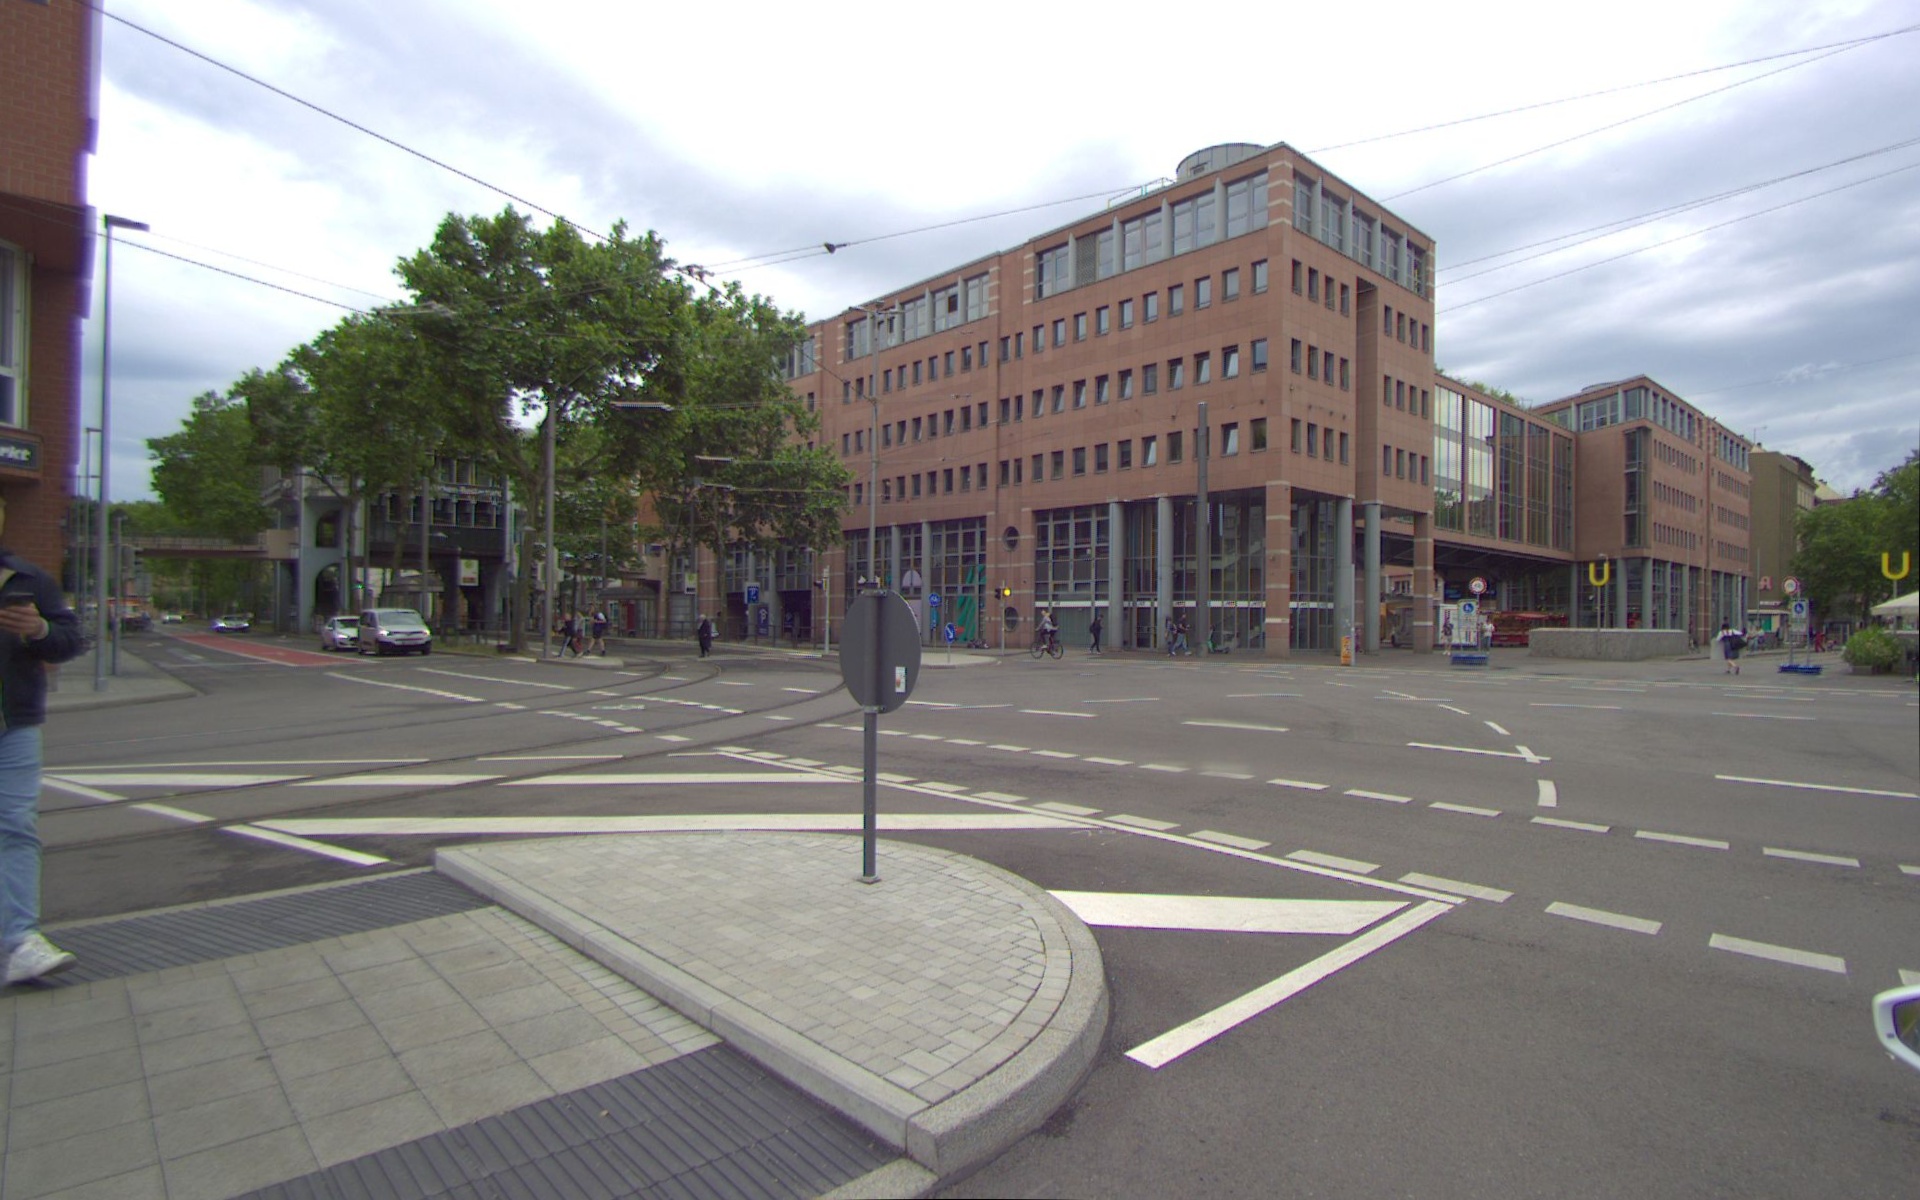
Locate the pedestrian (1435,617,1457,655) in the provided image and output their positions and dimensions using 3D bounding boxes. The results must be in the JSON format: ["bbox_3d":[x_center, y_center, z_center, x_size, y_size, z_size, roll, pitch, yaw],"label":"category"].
[{"bbox_3d":[24.066,1.788,49.702,0.727,1.866,0.695,1,0,-37],"label":"pedestrian"}]

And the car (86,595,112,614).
[{"bbox_3d":[-88.131,0.496,102.851,1.914,1.817,3.661,1,-2,-42],"label":"car"}]

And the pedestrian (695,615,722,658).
[{"bbox_3d":[-9.359,1.356,37.393,0.737,1.581,0.568,3,-1,-37],"label":"pedestrian"}]

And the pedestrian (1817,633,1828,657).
[{"bbox_3d":[63.409,3.308,73.828,0.593,1.737,0.652,1,0,41],"label":"pedestrian"}]

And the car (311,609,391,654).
[{"bbox_3d":[-26.065,1.332,42.964,3.944,1.817,1.917,-1,-2,43],"label":"car"}]

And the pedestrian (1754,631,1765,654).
[{"bbox_3d":[62.590,3.324,78.637,0.593,1.737,0.652,1,0,41],"label":"pedestrian"}]

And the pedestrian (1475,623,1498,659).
[{"bbox_3d":[27.223,2.123,51.952,0.724,1.866,0.698,1,0,-23],"label":"pedestrian"}]

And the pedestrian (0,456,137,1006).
[{"bbox_3d":[-3.592,0.455,3.673,0.794,1.914,0.604,3,-2,-45],"label":"pedestrian"}]

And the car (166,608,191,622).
[{"bbox_3d":[-88.900,1.716,114.240,3.654,1.568,1.669,-1,-2,43],"label":"car"}]

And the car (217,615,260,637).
[{"bbox_3d":[-53.567,1.902,74.562,3.815,1.584,1.917,-1,-2,43],"label":"car"}]

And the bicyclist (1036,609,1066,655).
[{"bbox_3d":[3.731,1.311,41.321,0.831,1.836,0.867,1,0,-42],"label":"bicyclist"}]

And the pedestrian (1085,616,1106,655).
[{"bbox_3d":[6.101,1.592,45.197,0.730,1.710,0.574,2,-1,22],"label":"pedestrian"}]

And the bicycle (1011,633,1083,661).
[{"bbox_3d":[3.563,1.917,41.540,0.897,1.058,3.239,2,-1,-40],"label":"bicycle"}]

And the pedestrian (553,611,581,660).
[{"bbox_3d":[-13.281,1.200,33.957,0.566,1.595,0.627,1,-2,40],"label":"pedestrian"}]

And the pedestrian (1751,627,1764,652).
[{"bbox_3d":[49.570,2.438,62.441,0.593,1.557,0.652,1,0,41],"label":"pedestrian"}]

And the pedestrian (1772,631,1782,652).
[{"bbox_3d":[69.848,3.544,85.873,0.593,1.737,0.652,1,0,41],"label":"pedestrian"}]

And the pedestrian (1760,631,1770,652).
[{"bbox_3d":[67.979,3.482,84.799,0.593,1.737,0.652,1,0,41],"label":"pedestrian"}]

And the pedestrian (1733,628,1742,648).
[{"bbox_3d":[70.199,3.442,90.685,0.593,1.737,0.652,1,0,41],"label":"pedestrian"}]

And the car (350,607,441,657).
[{"bbox_3d":[-21.588,1.203,38.331,3.944,1.817,1.917,-1,-2,43],"label":"car"}]

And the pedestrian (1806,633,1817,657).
[{"bbox_3d":[62.919,3.301,74.259,0.593,1.737,0.652,1,0,41],"label":"pedestrian"}]

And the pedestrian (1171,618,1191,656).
[{"bbox_3d":[9.554,1.605,43.479,0.730,1.581,0.574,2,-1,22],"label":"pedestrian"}]

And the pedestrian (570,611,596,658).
[{"bbox_3d":[-13.257,1.212,35.318,0.566,1.633,0.627,1,-2,40],"label":"pedestrian"}]

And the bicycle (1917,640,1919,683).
[{"bbox_3d":[27.297,1.709,27.260,1.842,1.187,0.529,1,0,34],"label":"bicycle"}]

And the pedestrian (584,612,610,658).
[{"bbox_3d":[-13.175,1.261,36.453,0.566,1.633,0.627,1,-2,40],"label":"pedestrian"}]

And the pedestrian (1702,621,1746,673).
[{"bbox_3d":[25.793,1.581,33.900,0.724,1.727,0.924,1,0,-23],"label":"pedestrian"}]
